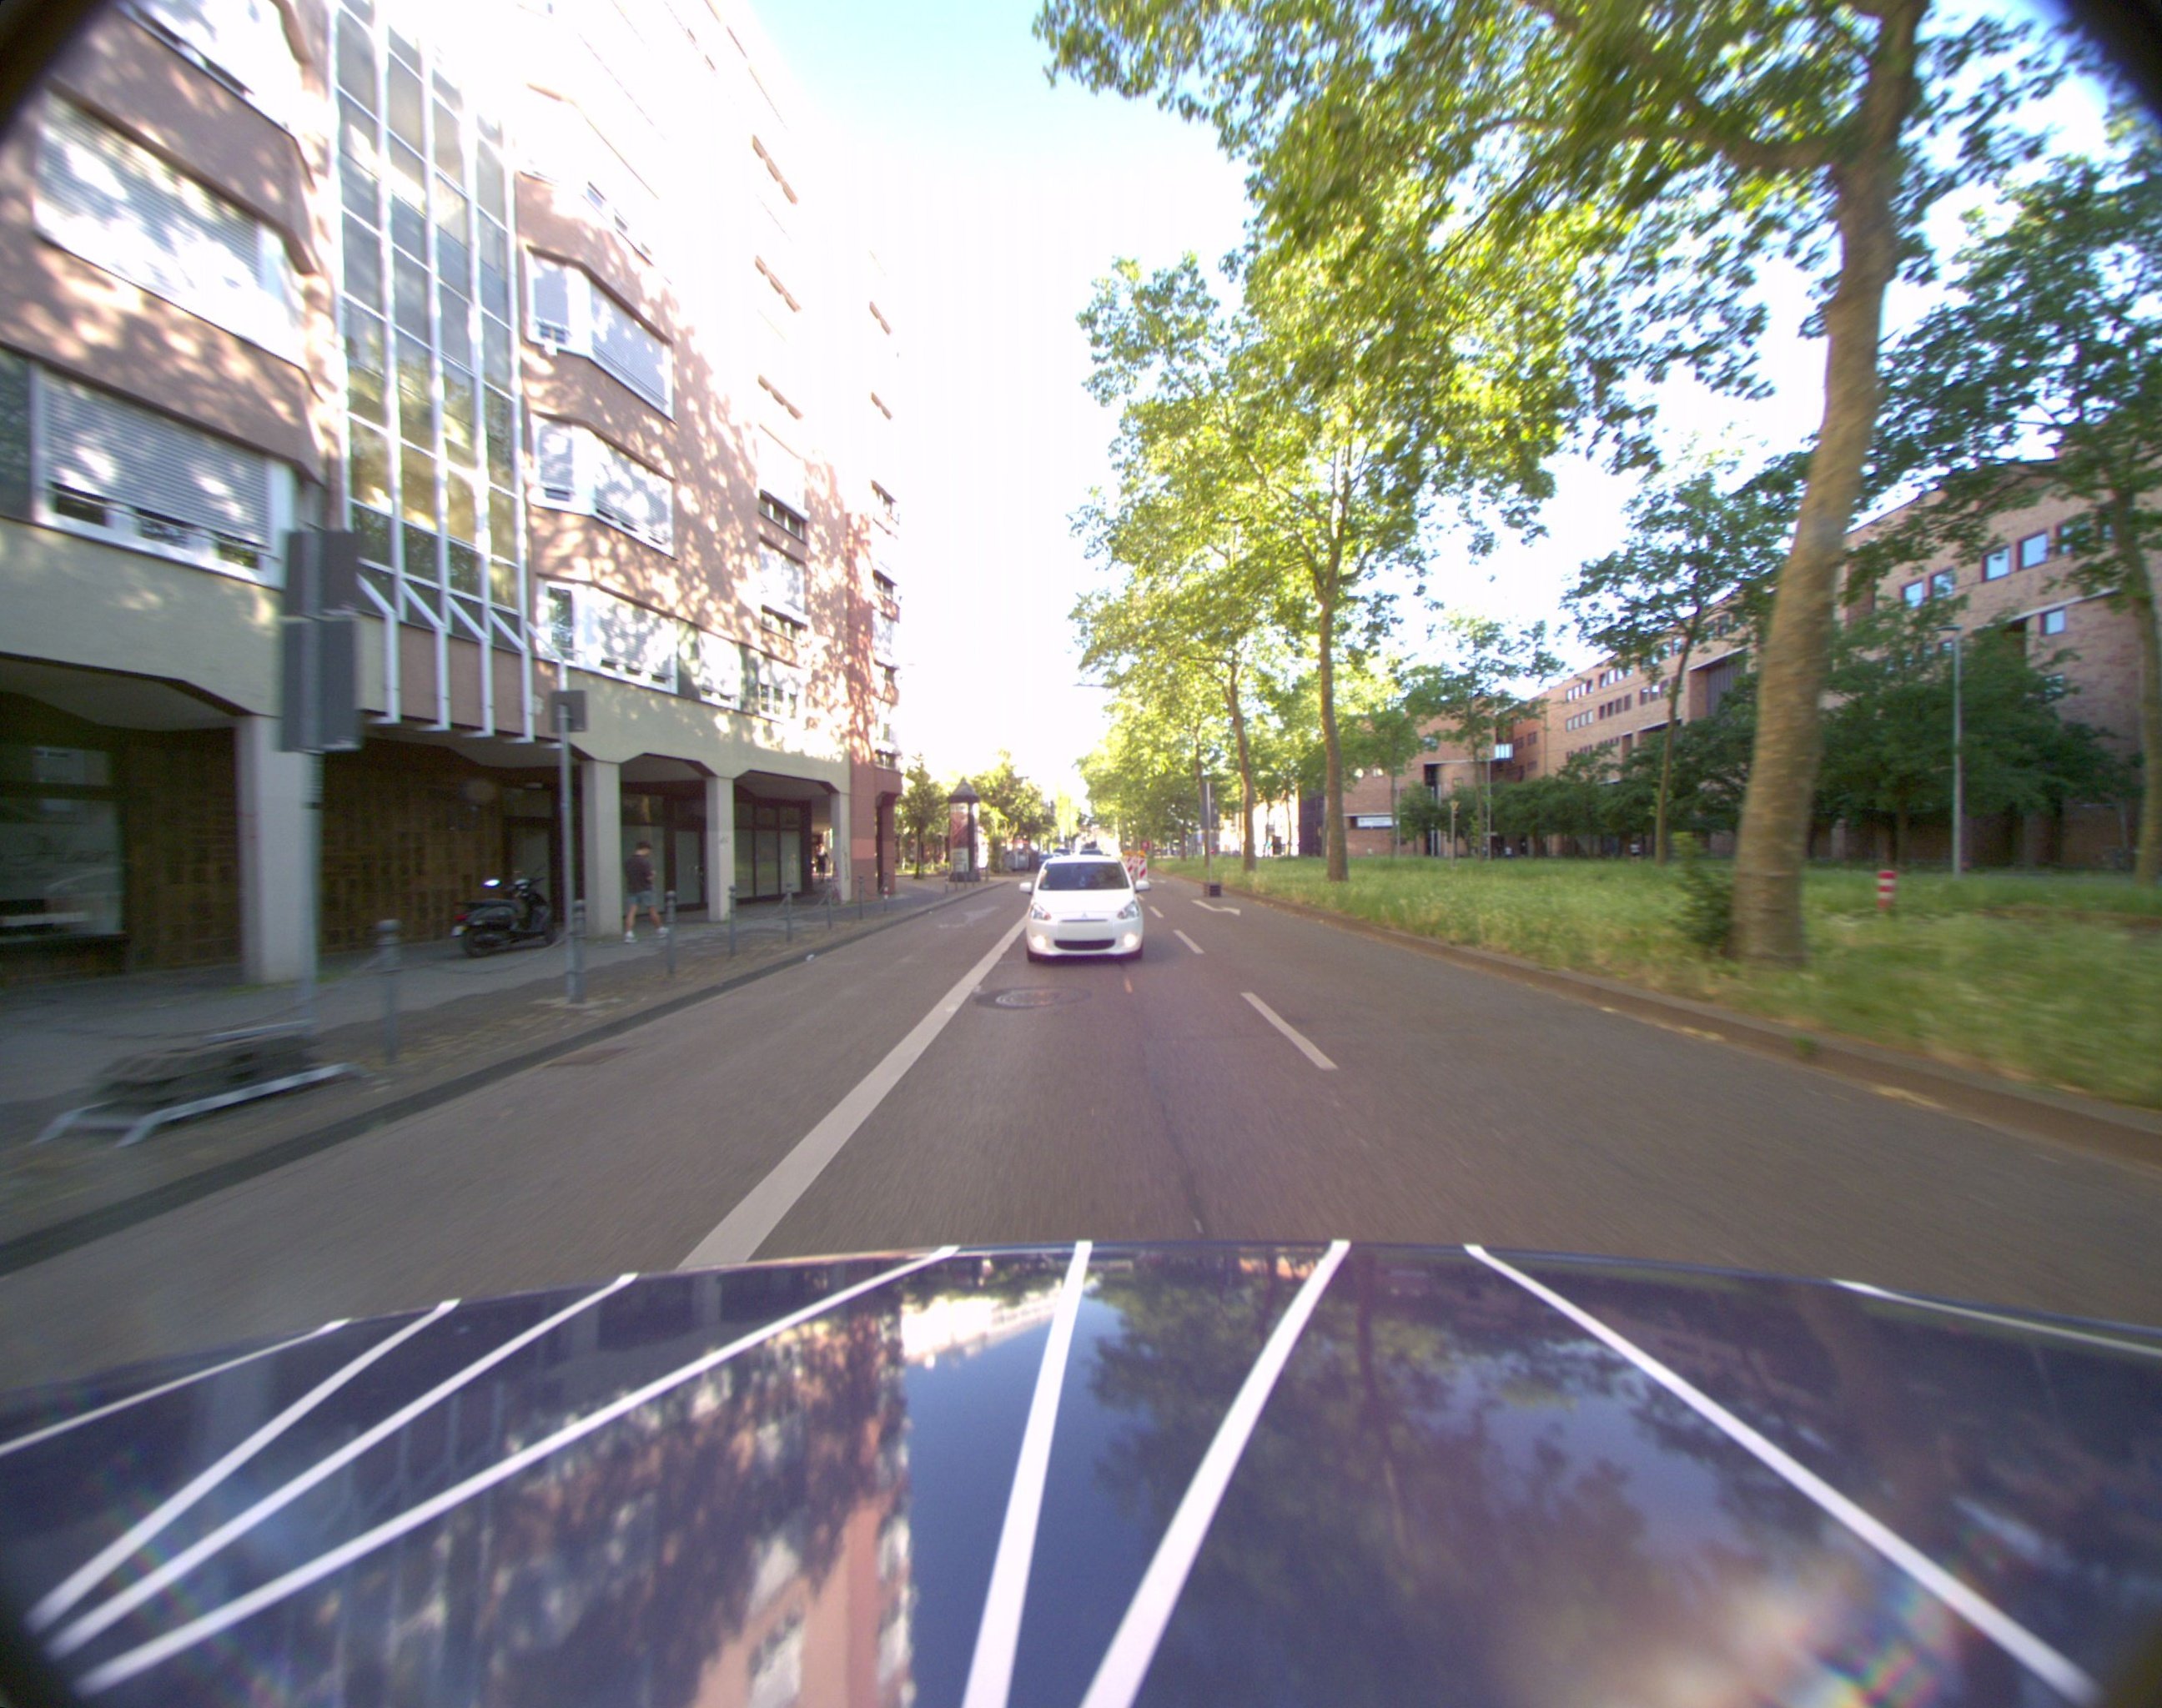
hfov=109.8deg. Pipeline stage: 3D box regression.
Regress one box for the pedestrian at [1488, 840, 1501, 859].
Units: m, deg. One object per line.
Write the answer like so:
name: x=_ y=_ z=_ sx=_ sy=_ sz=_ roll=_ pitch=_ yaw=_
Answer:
pedestrian: x=34.971 y=-0.411 z=64.274 sx=0.665 sy=1.607 sz=0.756 roll=-1 pitch=1 yaw=1

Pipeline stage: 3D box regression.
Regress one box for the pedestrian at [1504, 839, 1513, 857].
pedestrian: x=35.974 y=-0.471 z=63.903 sx=0.484 sy=1.497 sz=0.463 roll=-1 pitch=1 yaw=3

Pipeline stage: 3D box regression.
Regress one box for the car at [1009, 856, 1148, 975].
car: x=0.153 y=0.829 z=12.234 sx=1.720 sy=1.442 sz=4.426 roll=-3 pitch=0 yaw=6

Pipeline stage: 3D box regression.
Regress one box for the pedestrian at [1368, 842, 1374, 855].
pedestrian: x=35.072 y=-0.628 z=91.906 sx=0.417 sy=1.535 sz=0.653 roll=-1 pitch=1 yaw=-1

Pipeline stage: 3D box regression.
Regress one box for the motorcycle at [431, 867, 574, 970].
motorcycle: x=-8.722 y=0.919 z=11.583 sx=0.489 sy=1.364 sz=2.090 roll=-1 pitch=1 yaw=2

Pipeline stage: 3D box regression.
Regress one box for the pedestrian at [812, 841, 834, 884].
pedestrian: x=-12.198 y=0.386 z=35.893 sx=0.819 sy=1.970 sz=0.846 roll=-2 pitch=1 yaw=-25

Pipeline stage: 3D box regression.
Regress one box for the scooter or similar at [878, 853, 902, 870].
scooter or similar: x=-13.371 y=0.530 z=53.218 sx=1.457 sy=1.139 sz=0.559 roll=-1 pitch=1 yaw=7

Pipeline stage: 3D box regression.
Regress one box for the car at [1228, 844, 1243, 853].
car: x=25.772 y=-0.861 z=127.201 sx=1.675 sy=1.421 sz=4.149 roll=-1 pitch=0 yaw=0

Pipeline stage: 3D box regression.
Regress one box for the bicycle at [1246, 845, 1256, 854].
bicycle: x=23.482 y=-0.636 z=104.910 sx=0.959 sy=1.120 sz=2.436 roll=-1 pitch=1 yaw=2

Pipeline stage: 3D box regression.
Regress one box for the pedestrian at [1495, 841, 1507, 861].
pedestrian: x=35.573 y=-0.227 z=64.357 sx=0.612 sy=1.670 sz=0.596 roll=-1 pitch=1 yaw=0

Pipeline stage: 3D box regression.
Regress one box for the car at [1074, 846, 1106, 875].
car: x=0.587 y=0.361 z=46.866 sx=1.824 sy=1.630 sz=4.000 roll=-1 pitch=1 yaw=2

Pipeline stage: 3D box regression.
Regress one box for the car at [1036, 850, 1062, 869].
car: x=-2.601 y=0.418 z=63.134 sx=1.705 sy=1.475 sz=4.249 roll=0 pitch=1 yaw=4

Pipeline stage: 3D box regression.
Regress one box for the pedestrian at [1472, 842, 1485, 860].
pedestrian: x=34.418 y=-0.267 z=65.788 sx=0.665 sy=1.607 sz=0.756 roll=-1 pitch=1 yaw=1

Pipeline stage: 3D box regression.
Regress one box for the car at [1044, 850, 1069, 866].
car: x=-2.191 y=0.342 z=68.954 sx=1.705 sy=1.457 sz=4.176 roll=0 pitch=1 yaw=5

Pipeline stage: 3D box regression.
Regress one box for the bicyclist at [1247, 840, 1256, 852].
bicyclist: x=23.469 y=-1.074 z=104.657 sx=0.943 sy=1.562 sz=1.209 roll=-1 pitch=1 yaw=2

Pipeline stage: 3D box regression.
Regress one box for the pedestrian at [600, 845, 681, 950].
pedestrian: x=-7.496 y=0.721 z=12.954 sx=0.782 sy=1.728 sz=0.837 roll=-1 pitch=1 yaw=10

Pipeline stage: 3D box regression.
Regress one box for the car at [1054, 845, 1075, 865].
car: x=-1.619 y=0.101 z=76.243 sx=2.043 sy=1.932 sz=5.197 roll=1 pitch=0 yaw=0

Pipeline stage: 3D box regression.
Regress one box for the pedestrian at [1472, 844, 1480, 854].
pedestrian: x=46.528 y=-0.582 z=89.501 sx=0.666 sy=1.191 sz=0.630 roll=-1 pitch=1 yaw=-8

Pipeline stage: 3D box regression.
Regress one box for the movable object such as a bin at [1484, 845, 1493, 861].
movable object such as a bin: x=34.155 y=-0.095 z=63.634 sx=0.356 sy=1.272 sz=0.756 roll=-1 pitch=1 yaw=1

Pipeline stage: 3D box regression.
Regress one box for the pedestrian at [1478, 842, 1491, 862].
pedestrian: x=34.235 y=-0.179 z=64.416 sx=0.665 sy=1.712 sz=0.796 roll=-1 pitch=1 yaw=1

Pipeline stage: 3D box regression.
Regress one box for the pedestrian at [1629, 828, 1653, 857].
pedestrian: x=35.199 y=-0.728 z=47.749 sx=0.826 sy=1.821 sz=0.901 roll=-1 pitch=1 yaw=2

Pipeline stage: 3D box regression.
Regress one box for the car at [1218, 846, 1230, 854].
car: x=26.012 y=-0.778 z=138.044 sx=1.617 sy=1.421 sz=3.221 roll=-1 pitch=0 yaw=0
